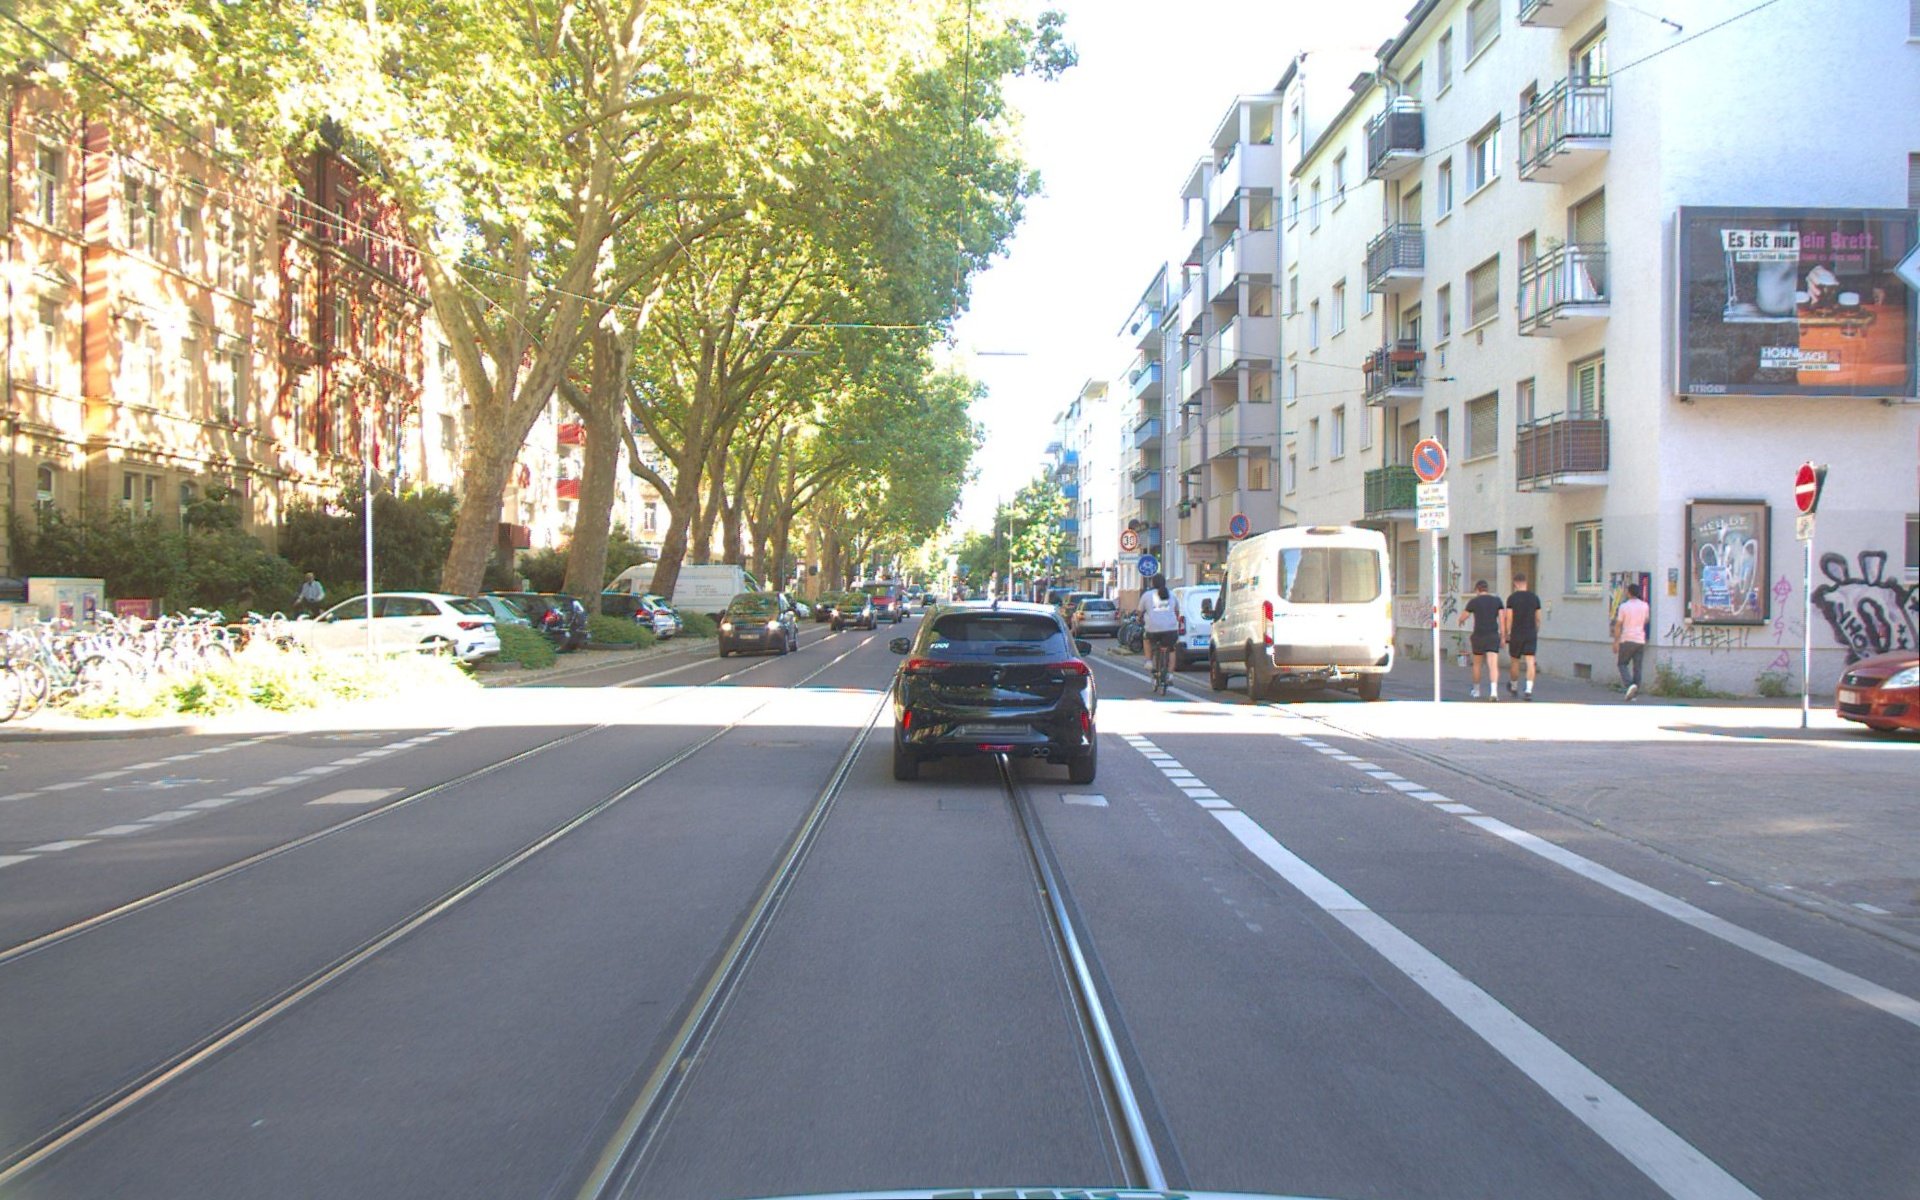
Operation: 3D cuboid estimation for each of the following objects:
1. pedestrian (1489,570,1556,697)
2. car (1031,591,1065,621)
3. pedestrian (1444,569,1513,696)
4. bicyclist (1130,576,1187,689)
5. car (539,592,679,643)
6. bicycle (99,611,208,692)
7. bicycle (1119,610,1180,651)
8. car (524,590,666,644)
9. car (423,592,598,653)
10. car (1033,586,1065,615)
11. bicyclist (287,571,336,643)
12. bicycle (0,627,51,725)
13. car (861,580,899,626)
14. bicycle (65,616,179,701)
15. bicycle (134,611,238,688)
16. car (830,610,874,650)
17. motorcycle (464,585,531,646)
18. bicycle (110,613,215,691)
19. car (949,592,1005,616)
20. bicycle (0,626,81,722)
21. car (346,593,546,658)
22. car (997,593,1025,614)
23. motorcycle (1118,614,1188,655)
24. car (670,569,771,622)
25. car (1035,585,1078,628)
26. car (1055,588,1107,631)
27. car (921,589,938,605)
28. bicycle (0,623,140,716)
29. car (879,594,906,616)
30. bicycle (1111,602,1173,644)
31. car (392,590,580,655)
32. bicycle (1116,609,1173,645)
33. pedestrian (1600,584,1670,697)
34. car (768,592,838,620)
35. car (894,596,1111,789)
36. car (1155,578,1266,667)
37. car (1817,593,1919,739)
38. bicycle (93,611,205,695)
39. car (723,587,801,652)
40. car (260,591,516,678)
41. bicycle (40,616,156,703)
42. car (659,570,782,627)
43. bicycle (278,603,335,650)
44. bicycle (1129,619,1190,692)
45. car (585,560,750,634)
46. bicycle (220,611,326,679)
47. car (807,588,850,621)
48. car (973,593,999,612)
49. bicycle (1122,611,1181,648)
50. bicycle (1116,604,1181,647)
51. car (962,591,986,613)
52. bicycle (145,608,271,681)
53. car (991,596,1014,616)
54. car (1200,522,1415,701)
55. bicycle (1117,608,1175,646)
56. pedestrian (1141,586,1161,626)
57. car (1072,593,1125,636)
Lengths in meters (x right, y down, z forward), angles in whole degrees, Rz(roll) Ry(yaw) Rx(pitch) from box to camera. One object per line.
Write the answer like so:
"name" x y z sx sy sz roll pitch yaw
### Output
"pedestrian" 8.456 0.501 24.895 0.612 1.854 1.082 -1 -1 1
"car" 4.982 0.329 94.291 1.820 1.680 4.001 0 0 1
"pedestrian" 7.795 0.480 24.898 0.695 1.854 1.082 -1 -1 1
"bicyclist" 3.190 0.517 26.630 0.770 1.790 0.914 0 0 -1
"car" -10.741 0.524 50.833 3.905 1.522 1.830 0 0 0
"bicycle" -11.353 0.710 23.283 1.525 1.107 0.396 0 0 18
"bicycle" 5.263 0.852 46.049 1.619 1.073 0.457 -2 0 -1
"car" -10.620 0.489 48.254 3.715 1.486 1.704 1 0 0
"car" -11.251 0.540 41.596 3.904 1.486 1.704 0 0 1
"car" 5.457 0.022 102.122 1.820 1.680 4.001 1 0 1
"bicyclist" -16.540 0.172 42.203 0.813 1.794 1.048 0 0 -1
"bicycle" -11.517 0.873 19.350 1.817 1.107 0.396 0 0 18
"car" -4.066 0.120 84.296 1.879 2.266 4.958 0 0 -2
"bicycle" -11.289 0.775 22.284 1.525 1.107 0.396 0 0 18
"bicycle" -11.530 0.726 24.636 1.525 1.107 0.396 0 0 18
"car" -4.324 1.193 66.736 1.683 1.536 3.721 0 0 -2
"motorcycle" -13.153 0.434 47.111 1.030 1.659 3.011 2 0 -1
"bicycle" -11.642 0.750 24.152 1.525 1.107 0.396 0 0 18
"car" 1.204 0.285 116.725 3.906 1.680 1.864 0 0 -1
"bicycle" -11.393 0.868 19.770 1.817 1.107 0.396 0 0 18
"car" -11.331 0.545 36.627 3.904 1.393 1.605 0 0 1
"car" 3.886 0.249 126.842 1.684 1.601 4.081 0 0 -4
"motorcycle" 5.271 0.952 45.101 1.781 1.099 0.617 -1 0 23
"car" -12.075 -0.234 83.685 4.845 2.612 2.081 0 0 -4
"car" 4.473 0.296 77.269 1.820 1.923 4.925 0 0 1
"car" 4.991 0.368 68.604 1.731 1.734 4.282 0 0 -1
"car" -3.336 -0.356 180.880 1.714 1.680 4.001 0 0 1
"bicycle" -11.113 0.852 20.624 1.817 1.107 0.396 0 0 18
"car" -4.360 0.337 107.300 1.683 1.382 4.468 0 0 -2
"bicycle" 5.438 0.686 49.517 1.786 1.212 0.457 -2 0 -1
"car" -11.166 0.523 39.156 3.904 1.486 1.770 0 0 1
"bicycle" 5.464 0.796 49.039 1.619 0.983 0.457 -2 0 -1
"pedestrian" 9.968 0.588 24.446 0.619 1.608 0.933 2 -1 1
"car" -8.976 0.322 94.919 3.906 1.548 1.770 0 0 -2
"car" 0.303 0.716 14.622 1.645 1.447 3.627 2 0 -1
"car" 5.513 0.465 36.893 1.820 1.852 4.351 0 0 0
"car" 12.296 0.748 19.379 3.576 1.601 1.790 1 1 -1
"bicycle" -11.132 0.717 22.705 1.525 1.107 0.396 0 0 18
"car" -4.838 0.455 40.738 1.602 1.536 3.690 0 0 -2
"car" -10.144 0.606 29.545 3.906 1.486 1.878 0 -1 -1
"bicycle" -11.385 0.770 21.830 1.525 1.107 0.396 0 0 18
"car" -10.813 -0.084 75.033 5.250 2.521 2.057 0 0 0
"bicycle" -16.585 0.660 42.008 0.727 1.158 1.780 0 0 -1
"bicycle" 3.218 0.879 26.802 0.687 1.111 1.989 2 0 -1
"car" -10.617 -0.128 60.361 5.623 2.580 2.162 1 0 0
"bicycle" -11.248 0.728 27.077 1.766 1.061 0.596 0 0 27
"car" -7.117 0.235 89.813 1.953 1.730 4.484 -1 0 -1
"car" 2.367 0.196 151.148 1.954 1.668 3.996 0 0 -4
"bicycle" 5.447 0.834 47.115 1.619 1.004 0.457 -2 0 -1
"bicycle" 5.453 0.743 47.845 1.757 1.168 0.704 -2 0 -1
"car" 1.112 0.125 128.455 1.820 1.680 4.001 0 0 1
"bicycle" -11.785 0.683 25.927 1.878 1.107 0.597 0 0 18
"car" 3.382 0.460 132.501 1.683 1.516 3.680 0 0 -2
"car" 5.417 0.163 26.709 2.105 2.539 6.087 0 0 -1
"bicycle" 5.461 0.792 48.510 1.619 1.038 0.457 -2 0 -1
"pedestrian" 8.352 0.263 72.312 0.741 1.750 0.720 0 0 -2
"car" 5.157 0.516 62.043 1.689 1.552 4.513 0 0 1
